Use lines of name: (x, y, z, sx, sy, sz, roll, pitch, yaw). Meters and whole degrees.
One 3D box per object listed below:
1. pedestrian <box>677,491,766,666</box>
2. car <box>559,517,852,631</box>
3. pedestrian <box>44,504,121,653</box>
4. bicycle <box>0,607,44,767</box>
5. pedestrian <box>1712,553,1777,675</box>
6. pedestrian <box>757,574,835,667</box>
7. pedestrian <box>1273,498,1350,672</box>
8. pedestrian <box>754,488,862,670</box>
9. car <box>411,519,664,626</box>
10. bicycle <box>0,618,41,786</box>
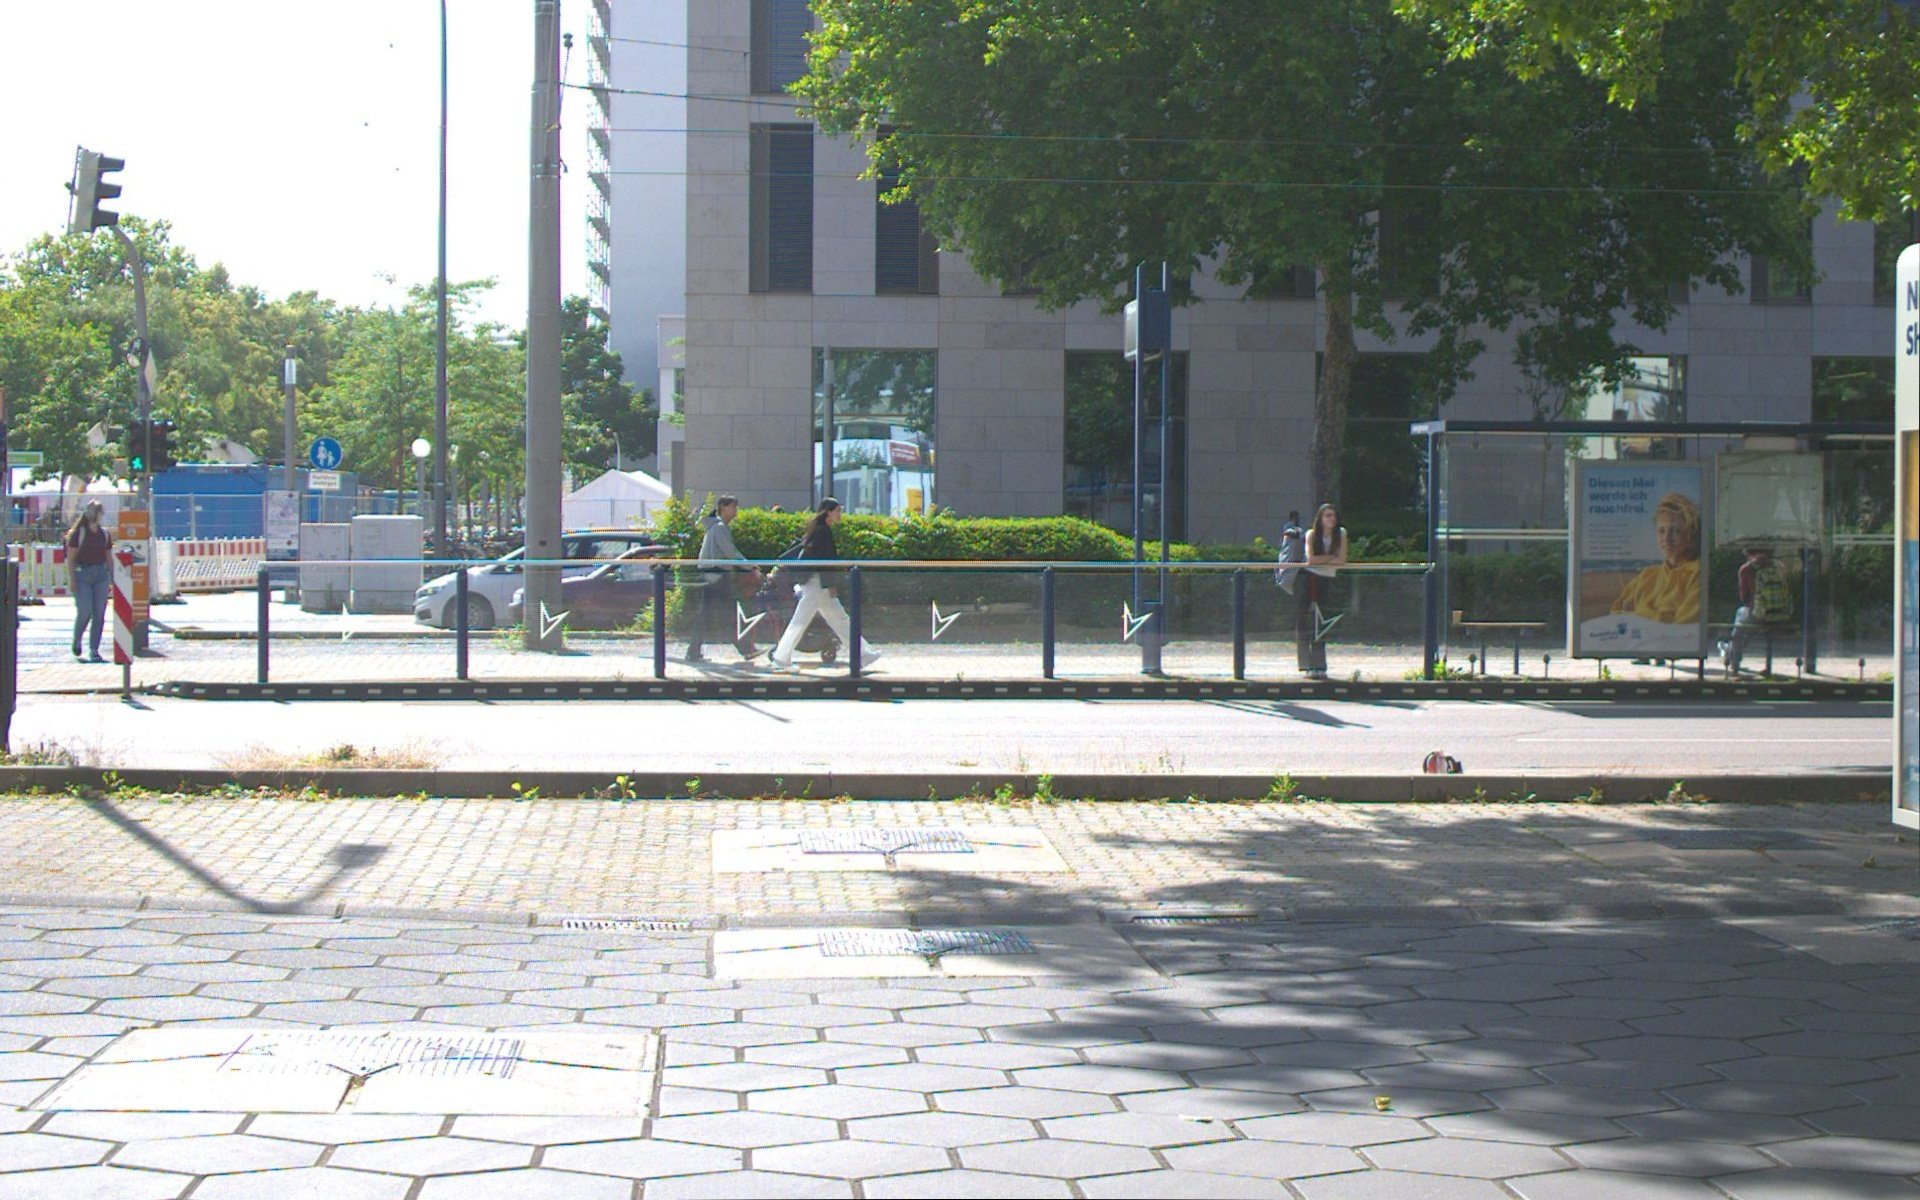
pedestrian: (-2.311, -0.210, 33.328, 0.777, 1.677, 0.503, 1, 1, 5)
car: (-3.613, -0.379, 48.571, 3.986, 1.546, 1.704, 0, 1, -9)
pedestrian: (-9.153, -0.232, 35.866, 0.650, 1.535, 0.503, 1, 1, 5)
bicycle: (-7.296, 0.579, 24.130, 1.864, 1.078, 0.524, 1, 2, 31)
pedestrian: (7.445, 0.131, 32.633, 0.499, 1.134, 0.524, 1, 1, 2)
pedestrian: (-1.584, 0.191, 33.269, 0.690, 0.877, 0.503, 1, 1, 5)
pedestrian: (3.287, -0.148, 32.207, 0.584, 1.586, 0.670, 0, 3, -4)
pedestrian: (-1.418, -0.202, 32.159, 0.932, 1.677, 0.503, 1, 1, 5)
car: (-6.317, -0.420, 51.236, 3.681, 1.546, 1.592, 0, 1, -9)
bicycle: (-7.196, 0.654, 22.898, 2.021, 1.078, 0.639, 1, 1, 15)
